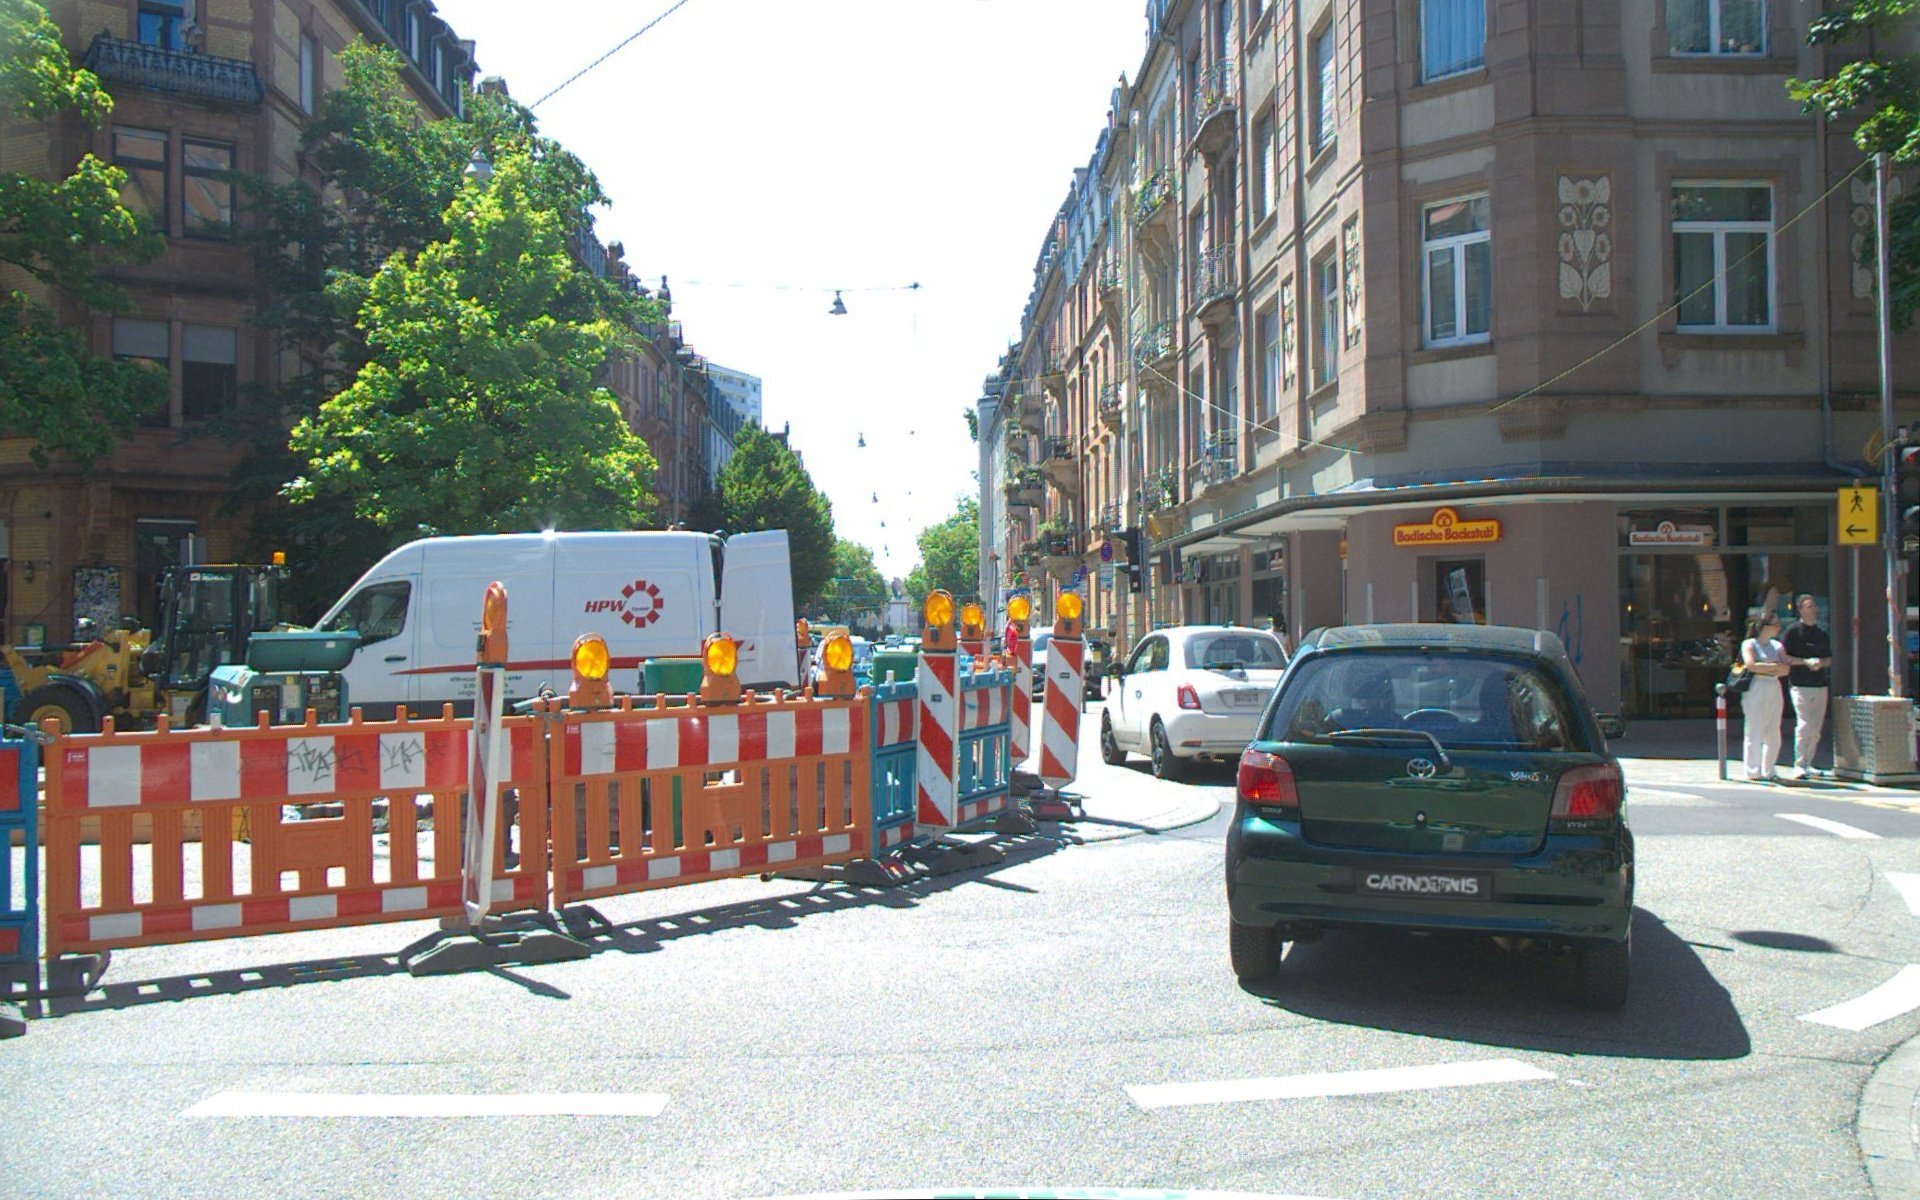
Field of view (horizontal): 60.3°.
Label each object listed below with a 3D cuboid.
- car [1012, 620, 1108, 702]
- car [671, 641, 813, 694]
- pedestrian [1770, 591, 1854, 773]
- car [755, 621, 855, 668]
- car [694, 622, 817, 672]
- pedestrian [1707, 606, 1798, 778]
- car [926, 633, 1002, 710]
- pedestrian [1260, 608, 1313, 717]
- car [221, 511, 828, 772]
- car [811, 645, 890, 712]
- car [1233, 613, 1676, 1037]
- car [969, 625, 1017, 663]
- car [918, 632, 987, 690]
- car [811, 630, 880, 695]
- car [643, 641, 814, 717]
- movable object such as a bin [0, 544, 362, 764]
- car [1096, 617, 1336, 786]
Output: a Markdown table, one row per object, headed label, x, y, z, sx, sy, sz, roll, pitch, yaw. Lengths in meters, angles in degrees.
| label | x | y | z | sx | sy | sz | roll | pitch | yaw |
| --- | --- | --- | --- | --- | --- | --- | --- | --- | --- |
| car | 2.303 | 1.418 | 39.103 | 1.834 | 1.743 | 4.502 | -2 | -1 | -1 |
| car | -6.455 | 1.972 | 49.156 | 3.891 | 1.496 | 1.836 | 1 | -2 | -43 |
| pedestrian | 8.735 | 0.824 | 16.967 | 0.565 | 1.799 | 0.470 | -3 | 2 | -10 |
| car | -7.602 | 2.168 | 81.295 | 4.508 | 2.226 | 1.980 | 0 | -2 | -29 |
| car | -8.486 | 1.931 | 68.716 | 4.725 | 2.029 | 2.032 | 0 | -2 | -31 |
| pedestrian | 8.032 | 0.923 | 16.769 | 0.689 | 1.674 | 0.422 | -3 | 2 | -10 |
| car | 0.057 | 1.578 | 37.254 | 1.492 | 1.620 | 3.261 | -1 | -1 | -4 |
| pedestrian | 5.058 | 0.961 | 25.660 | 0.628 | 1.652 | 0.803 | -1 | -1 | -2 |
| car | -4.918 | 0.493 | 19.583 | 6.487 | 2.800 | 2.379 | 1 | -2 | -1 |
| car | -2.575 | 1.841 | 39.622 | 1.719 | 1.469 | 3.998 | -1 | -1 | -2 |
| car | 2.285 | 0.840 | 7.790 | 1.579 | 1.511 | 3.242 | 1 | -1 | 16 |
| car | 1.302 | 1.771 | 67.177 | 1.719 | 1.454 | 3.998 | -1 | -1 | -2 |
| car | -0.277 | 1.881 | 52.050 | 1.954 | 1.646 | 3.998 | -3 | -1 | -2 |
| car | -3.251 | 1.780 | 47.784 | 1.719 | 1.674 | 4.375 | -4 | -1 | -2 |
| car | -5.902 | 2.013 | 42.243 | 3.947 | 1.836 | 1.750 | 2 | -2 | -32 |
| movable object such as a bin | -10.479 | 0.707 | 21.778 | 4.454 | 2.706 | 1.952 | 1 | -2 | -5 |
| car | 2.544 | 0.974 | 17.148 | 1.495 | 1.548 | 3.256 | -1 | -1 | -10 |
